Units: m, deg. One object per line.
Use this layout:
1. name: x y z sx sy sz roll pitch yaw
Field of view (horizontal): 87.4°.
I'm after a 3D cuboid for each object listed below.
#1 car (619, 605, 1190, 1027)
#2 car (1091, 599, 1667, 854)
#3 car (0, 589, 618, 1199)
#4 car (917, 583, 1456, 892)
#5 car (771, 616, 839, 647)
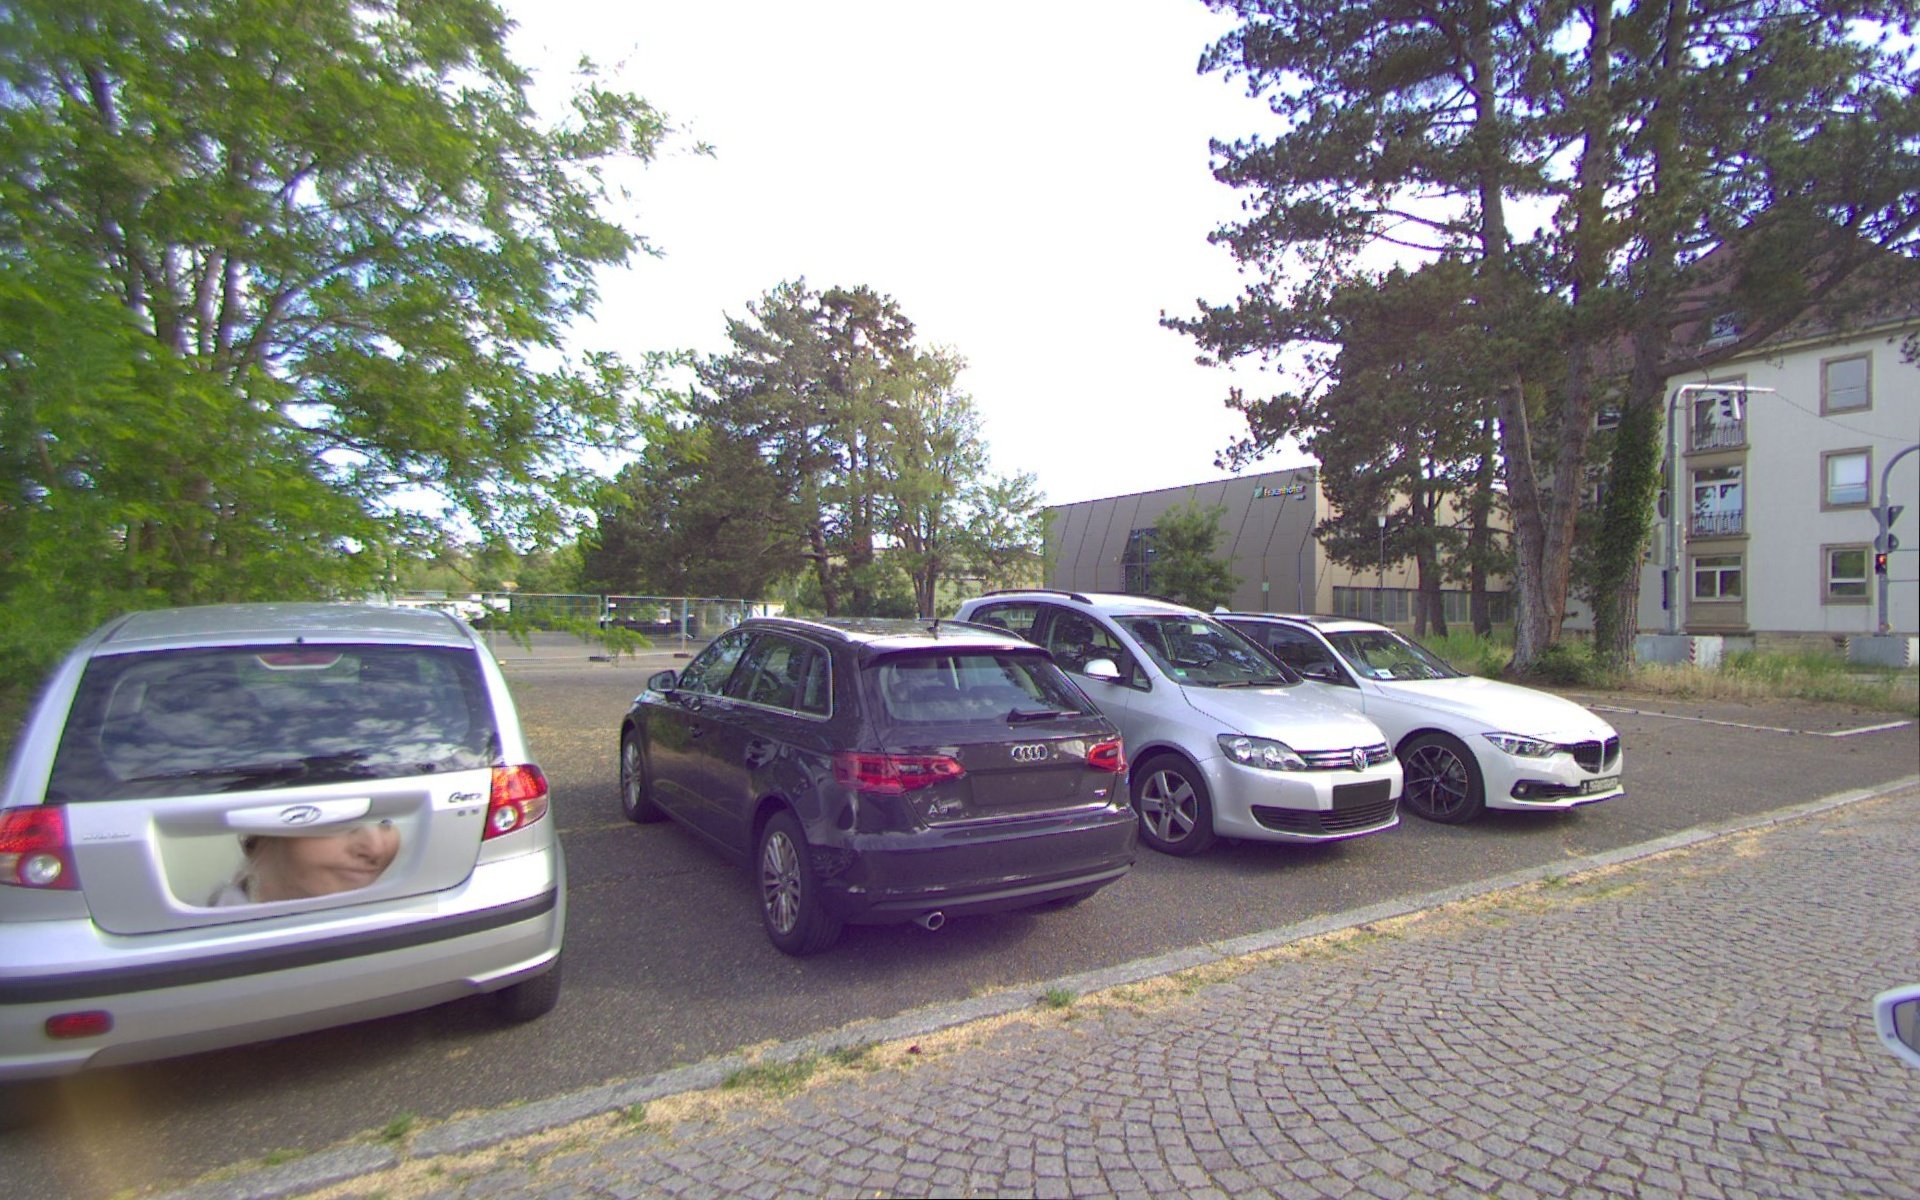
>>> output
1. car: -0.662 0.820 5.798 1.676 1.427 3.815 1 2 -31
2. car: 3.359 0.845 8.979 1.811 1.461 4.449 1 3 -34
3. car: -2.798 0.764 4.382 1.630 1.495 3.555 1 2 -33
4. car: 1.399 0.733 7.540 1.717 1.629 3.808 1 1 -33
5. car: -7.117 1.419 45.942 1.576 1.355 3.705 1 -1 -36
